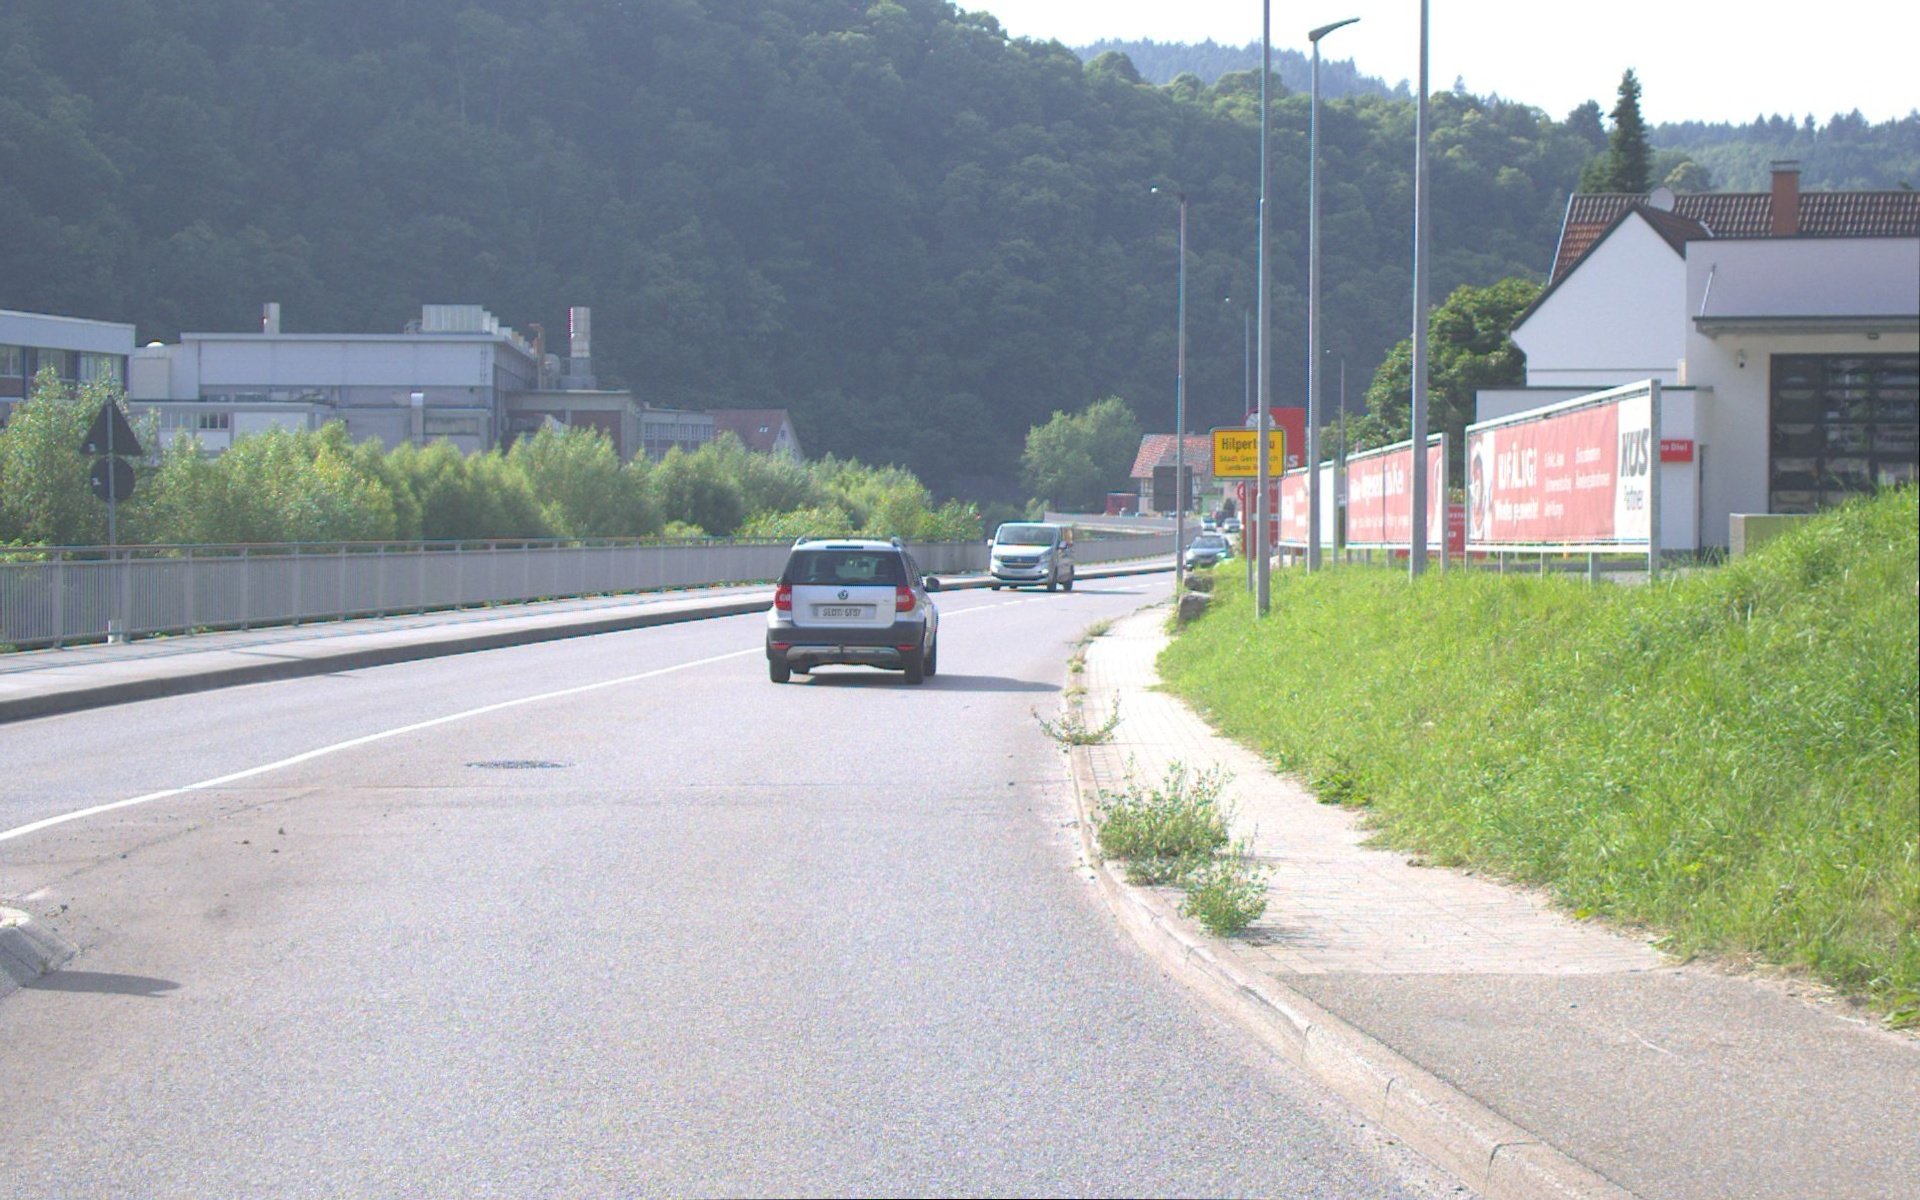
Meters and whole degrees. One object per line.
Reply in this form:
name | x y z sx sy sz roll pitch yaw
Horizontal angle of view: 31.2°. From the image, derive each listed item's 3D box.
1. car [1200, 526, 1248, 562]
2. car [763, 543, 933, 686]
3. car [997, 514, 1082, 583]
car | 11.112 -2.342 144.555 1.813 1.479 4.797 1 0 6
car | -1.259 0.125 40.379 1.861 1.539 4.373 1 1 0
car | 2.344 -1.482 99.899 1.920 1.961 5.144 0 0 7
